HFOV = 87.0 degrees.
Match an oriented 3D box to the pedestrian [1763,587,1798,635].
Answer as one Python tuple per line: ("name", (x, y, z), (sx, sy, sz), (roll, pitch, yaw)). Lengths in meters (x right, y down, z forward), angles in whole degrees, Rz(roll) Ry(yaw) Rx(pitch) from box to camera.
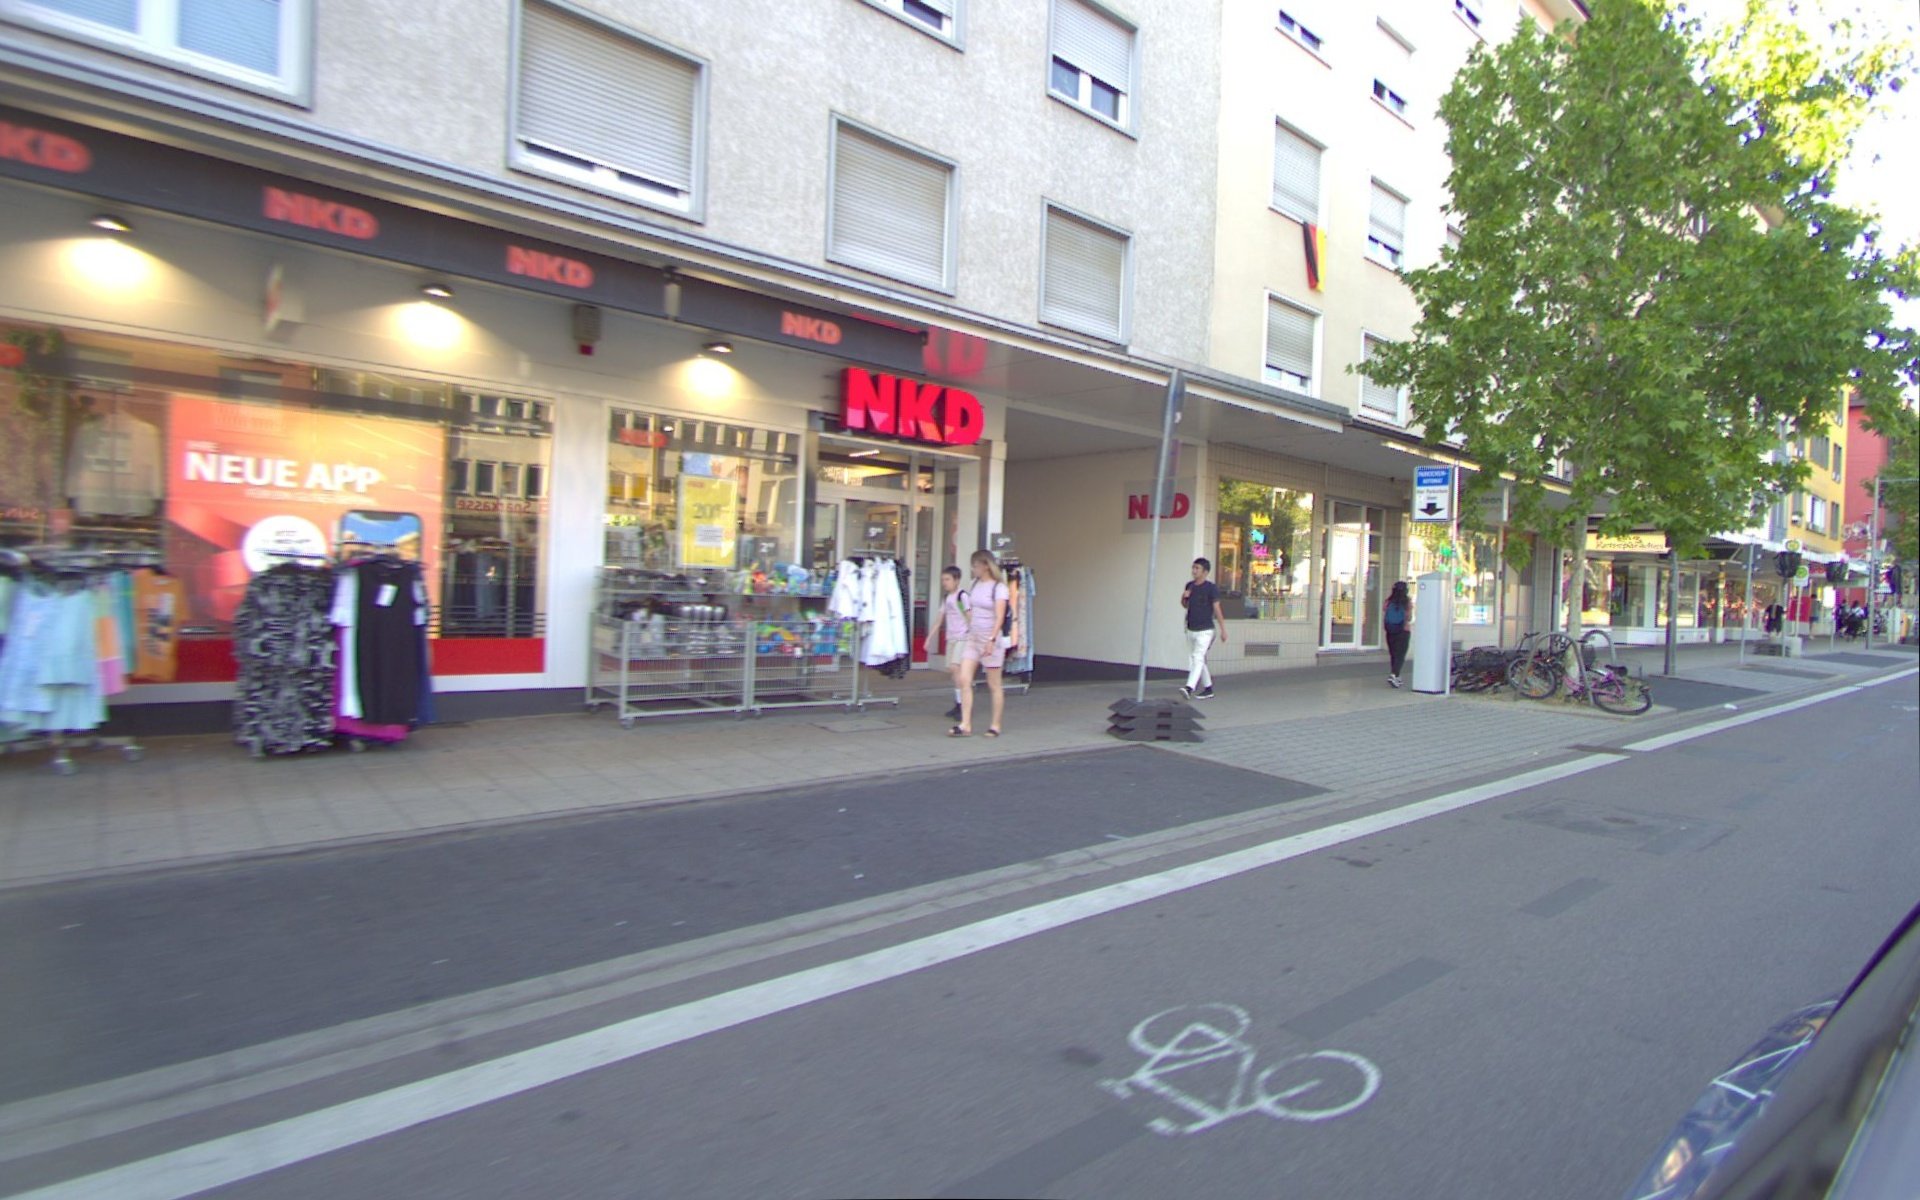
("pedestrian", (29.442, 0.386, 36.319), (0.900, 1.675, 0.851), (0, 0, -41))

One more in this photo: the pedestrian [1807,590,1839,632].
("pedestrian", (35.480, 0.450, 41.609), (0.900, 1.675, 0.851), (0, 0, -41))

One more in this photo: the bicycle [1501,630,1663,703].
("bicycle", (8.234, 0.863, 13.490), (1.744, 0.788, 0.696), (3, 1, 27))

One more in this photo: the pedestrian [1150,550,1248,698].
("pedestrian", (2.905, 0.272, 12.261), (1.051, 1.695, 0.569), (1, 3, -41))

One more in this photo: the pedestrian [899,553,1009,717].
("pedestrian", (-0.057, 0.324, 9.955), (0.880, 1.520, 0.542), (1, 2, -41))

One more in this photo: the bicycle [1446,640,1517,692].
("bicycle", (7.424, 0.919, 14.473), (0.831, 0.579, 1.745), (3, 2, 26))

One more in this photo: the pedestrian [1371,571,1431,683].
("pedestrian", (6.514, 0.381, 14.949), (0.637, 1.587, 0.490), (1, 3, -40))

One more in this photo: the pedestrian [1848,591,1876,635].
("pedestrian", (36.198, 0.528, 40.611), (0.647, 1.695, 0.693), (1, 3, -41))

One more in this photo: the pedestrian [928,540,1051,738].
("pedestrian", (0.264, 0.325, 8.955), (0.880, 1.649, 0.547), (2, 2, -41))

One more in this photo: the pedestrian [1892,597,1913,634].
("pedestrian", (42.754, 0.692, 45.919), (0.640, 1.675, 0.634), (0, 0, -41))

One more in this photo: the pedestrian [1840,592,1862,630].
("pedestrian", (40.297, 0.485, 45.771), (0.640, 1.675, 0.634), (0, 0, -41))
